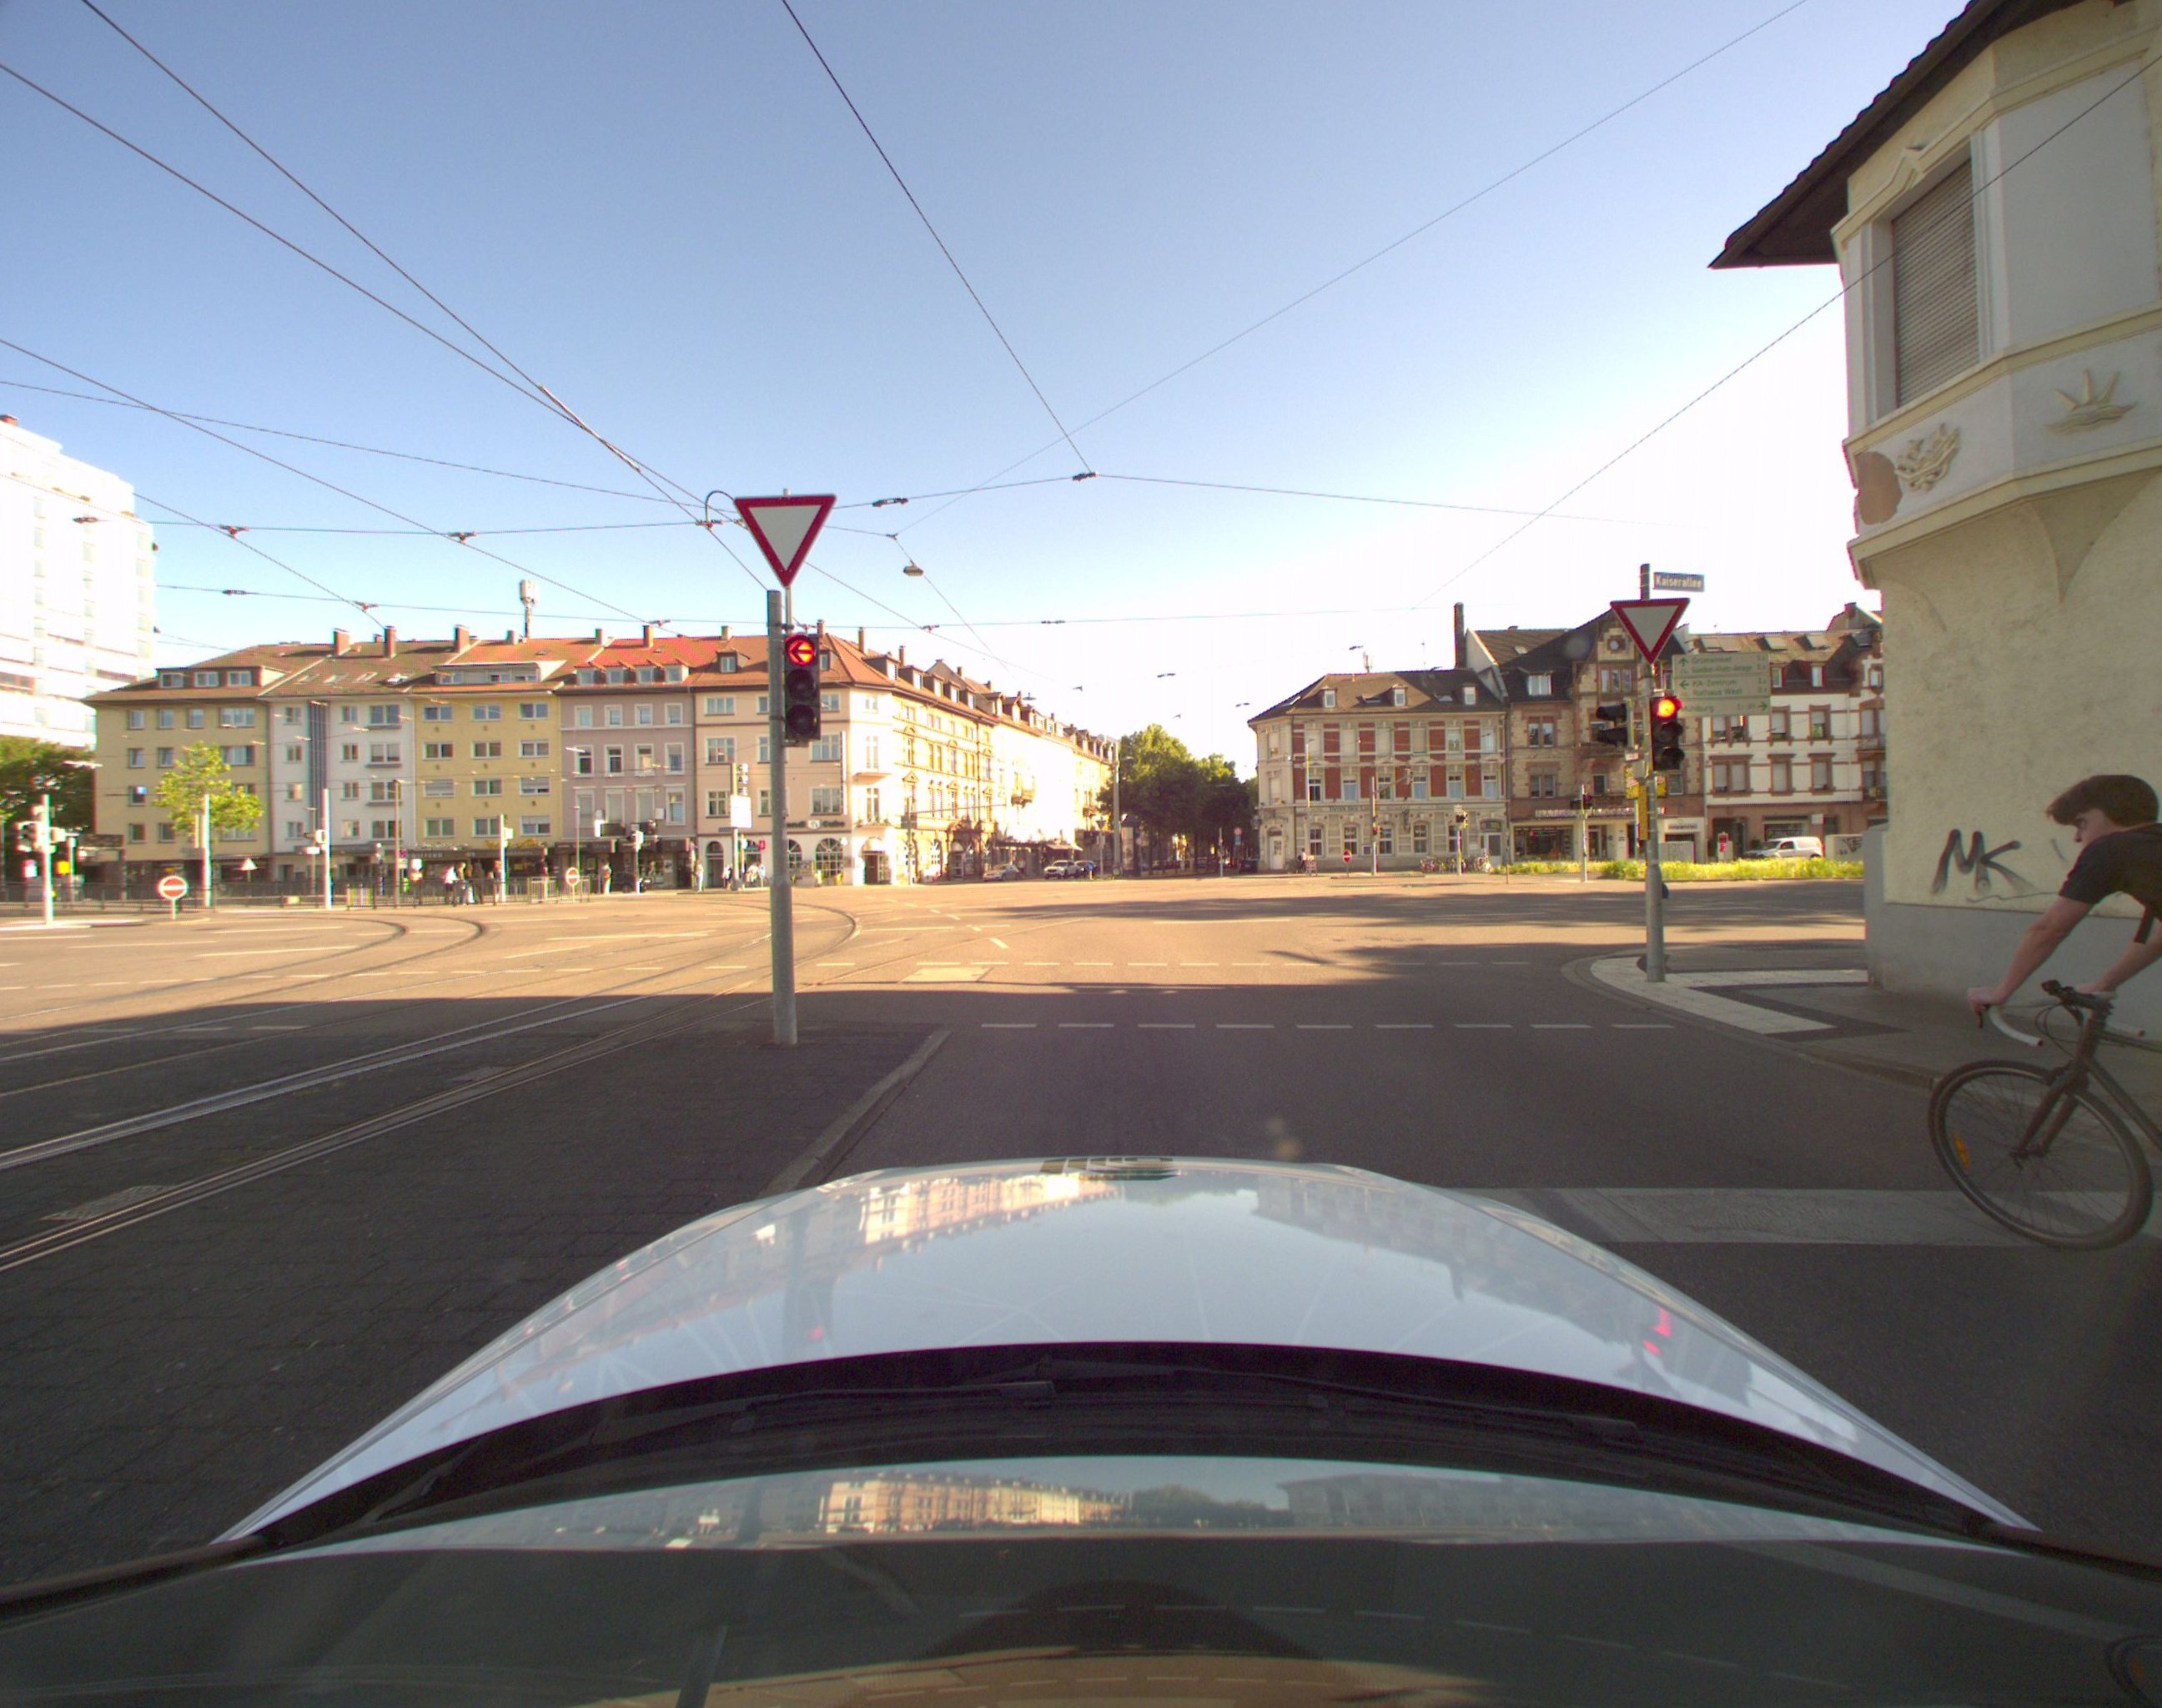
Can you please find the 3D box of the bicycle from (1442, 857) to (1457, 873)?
[{"bbox_3d":[23.857,0.688,52.754,0.483,1.020,1.789,-1,0,12],"label":"bicycle"}]

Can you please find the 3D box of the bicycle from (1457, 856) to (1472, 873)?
[{"bbox_3d":[24.820,0.681,52.713,0.483,1.020,1.789,-1,0,12],"label":"bicycle"}]

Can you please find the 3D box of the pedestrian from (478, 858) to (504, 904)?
[{"bbox_3d":[-23.272,1.051,32.136,0.558,1.786,0.560,-1,0,1],"label":"pedestrian"}]

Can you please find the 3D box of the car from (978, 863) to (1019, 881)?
[{"bbox_3d":[-6.757,1.479,67.360,1.977,1.361,3.836,-1,0,18],"label":"car"}]

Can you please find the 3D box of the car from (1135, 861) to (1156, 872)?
[{"bbox_3d":[9.245,1.817,116.821,1.977,1.404,4.189,-1,0,18],"label":"car"}]

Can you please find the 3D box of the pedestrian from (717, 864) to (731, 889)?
[{"bbox_3d":[-24.400,1.562,55.695,0.740,1.682,0.626,-1,0,-10],"label":"pedestrian"}]

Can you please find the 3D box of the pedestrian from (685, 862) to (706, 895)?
[{"bbox_3d":[-19.955,1.271,42.192,0.738,1.682,0.628,-1,0,1],"label":"pedestrian"}]

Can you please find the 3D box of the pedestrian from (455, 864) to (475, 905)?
[{"bbox_3d":[-23.741,1.166,31.389,0.426,1.551,0.453,-1,0,1],"label":"pedestrian"}]

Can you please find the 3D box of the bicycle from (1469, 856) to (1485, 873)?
[{"bbox_3d":[25.631,0.676,52.761,0.483,1.020,1.789,-1,0,12],"label":"bicycle"}]

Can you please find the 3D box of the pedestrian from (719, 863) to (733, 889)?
[{"bbox_3d":[-23.072,1.410,52.927,0.744,1.682,0.623,-1,0,-23],"label":"pedestrian"}]

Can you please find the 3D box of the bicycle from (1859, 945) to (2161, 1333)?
[{"bbox_3d":[3.565,0.922,2.500,0.568,1.058,1.890,-1,0,2],"label":"bicycle"}]

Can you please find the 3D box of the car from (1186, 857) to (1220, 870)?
[{"bbox_3d":[14.963,1.159,99.505,3.959,1.454,1.687,-1,0,13],"label":"car"}]

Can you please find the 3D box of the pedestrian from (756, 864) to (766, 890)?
[{"bbox_3d":[-15.815,1.135,40.218,0.364,1.253,0.449,-1,0,-10],"label":"pedestrian"}]

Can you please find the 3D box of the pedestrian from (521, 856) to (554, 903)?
[{"bbox_3d":[-21.602,1.020,32.378,0.764,1.829,0.723,-1,0,1],"label":"pedestrian"}]

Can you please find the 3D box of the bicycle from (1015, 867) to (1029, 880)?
[{"bbox_3d":[-4.760,1.533,65.565,0.650,1.000,1.671,-1,-1,14],"label":"bicycle"}]

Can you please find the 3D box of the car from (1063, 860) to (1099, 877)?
[{"bbox_3d":[0.033,1.314,73.804,1.977,1.404,4.189,-1,0,18],"label":"car"}]

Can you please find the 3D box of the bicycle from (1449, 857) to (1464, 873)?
[{"bbox_3d":[24.317,0.685,52.804,0.483,1.020,1.789,-1,0,12],"label":"bicycle"}]

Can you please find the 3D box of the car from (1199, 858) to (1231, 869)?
[{"bbox_3d":[17.336,1.229,105.159,3.959,1.288,1.700,-1,0,13],"label":"car"}]

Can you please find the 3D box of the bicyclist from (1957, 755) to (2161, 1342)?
[{"bbox_3d":[3.564,0.580,2.498,0.649,1.767,0.995,-1,0,2],"label":"bicyclist"}]

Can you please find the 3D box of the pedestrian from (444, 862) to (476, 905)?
[{"bbox_3d":[-24.183,1.145,31.720,0.738,1.635,0.572,-1,0,1],"label":"pedestrian"}]

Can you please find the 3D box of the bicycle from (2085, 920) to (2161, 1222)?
[{"bbox_3d":[4.509,0.862,2.486,0.568,1.165,1.890,-1,0,2],"label":"bicycle"}]

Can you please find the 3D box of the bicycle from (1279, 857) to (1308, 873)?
[{"bbox_3d":[14.915,0.754,57.138,1.940,1.054,0.717,-1,0,11],"label":"bicycle"}]

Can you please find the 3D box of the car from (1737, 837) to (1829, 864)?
[{"bbox_3d":[45.294,-0.238,52.601,4.239,1.622,1.999,-1,0,-1],"label":"car"}]

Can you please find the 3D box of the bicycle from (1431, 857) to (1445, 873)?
[{"bbox_3d":[23.162,0.726,52.873,0.483,1.020,1.789,-1,0,12],"label":"bicycle"}]

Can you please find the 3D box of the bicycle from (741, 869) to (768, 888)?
[{"bbox_3d":[-23.164,1.751,57.710,1.714,1.276,0.385,-1,0,-16],"label":"bicycle"}]

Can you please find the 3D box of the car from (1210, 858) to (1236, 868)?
[{"bbox_3d":[19.380,1.218,111.188,3.409,1.239,1.582,-1,0,13],"label":"car"}]

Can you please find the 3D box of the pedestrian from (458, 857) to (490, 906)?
[{"bbox_3d":[-23.231,1.043,31.179,0.625,1.850,0.778,-1,0,1],"label":"pedestrian"}]

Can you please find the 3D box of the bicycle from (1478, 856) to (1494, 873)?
[{"bbox_3d":[26.336,0.672,52.917,0.483,1.020,1.789,-1,0,12],"label":"bicycle"}]

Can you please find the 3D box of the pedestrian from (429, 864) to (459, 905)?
[{"bbox_3d":[-25.372,1.202,32.440,0.696,1.581,0.560,-1,0,1],"label":"pedestrian"}]

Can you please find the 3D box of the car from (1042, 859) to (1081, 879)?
[{"bbox_3d":[-1.587,1.220,67.666,1.977,1.516,4.189,-1,0,18],"label":"car"}]

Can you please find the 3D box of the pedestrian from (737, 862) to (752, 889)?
[{"bbox_3d":[-21.838,1.402,52.891,0.624,1.682,0.743,-1,0,0],"label":"pedestrian"}]

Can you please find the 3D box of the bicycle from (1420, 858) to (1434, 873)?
[{"bbox_3d":[22.485,0.736,52.976,0.483,0.914,1.789,-1,0,12],"label":"bicycle"}]

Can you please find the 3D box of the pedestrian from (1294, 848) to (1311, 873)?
[{"bbox_3d":[15.276,0.459,56.168,1.029,1.712,0.631,-1,-1,10],"label":"pedestrian"}]

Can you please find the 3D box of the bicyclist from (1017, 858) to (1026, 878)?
[{"bbox_3d":[-4.766,1.096,65.467,0.486,1.601,0.668,-1,0,12],"label":"bicyclist"}]

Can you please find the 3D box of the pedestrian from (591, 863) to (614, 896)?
[{"bbox_3d":[-24.902,1.307,42.375,0.764,1.682,0.628,-1,0,1],"label":"pedestrian"}]

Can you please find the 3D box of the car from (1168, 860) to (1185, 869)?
[{"bbox_3d":[16.028,1.742,136.417,1.977,1.404,4.189,-1,0,18],"label":"car"}]

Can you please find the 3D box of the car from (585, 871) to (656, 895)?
[{"bbox_3d":[-30.330,1.901,53.695,3.711,1.491,1.820,0,-1,4],"label":"car"}]

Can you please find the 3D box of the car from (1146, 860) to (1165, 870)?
[{"bbox_3d":[11.199,1.693,122.499,1.977,1.404,4.189,-1,0,18],"label":"car"}]

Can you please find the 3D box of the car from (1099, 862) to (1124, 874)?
[{"bbox_3d":[3.832,1.715,102.173,1.977,1.404,4.189,-1,0,18],"label":"car"}]

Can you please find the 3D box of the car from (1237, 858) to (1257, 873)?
[{"bbox_3d":[16.801,1.136,82.291,1.742,1.420,4.016,-1,0,14],"label":"car"}]

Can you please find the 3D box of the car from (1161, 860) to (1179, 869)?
[{"bbox_3d":[14.329,1.713,131.257,1.977,1.404,4.189,-1,0,18],"label":"car"}]
